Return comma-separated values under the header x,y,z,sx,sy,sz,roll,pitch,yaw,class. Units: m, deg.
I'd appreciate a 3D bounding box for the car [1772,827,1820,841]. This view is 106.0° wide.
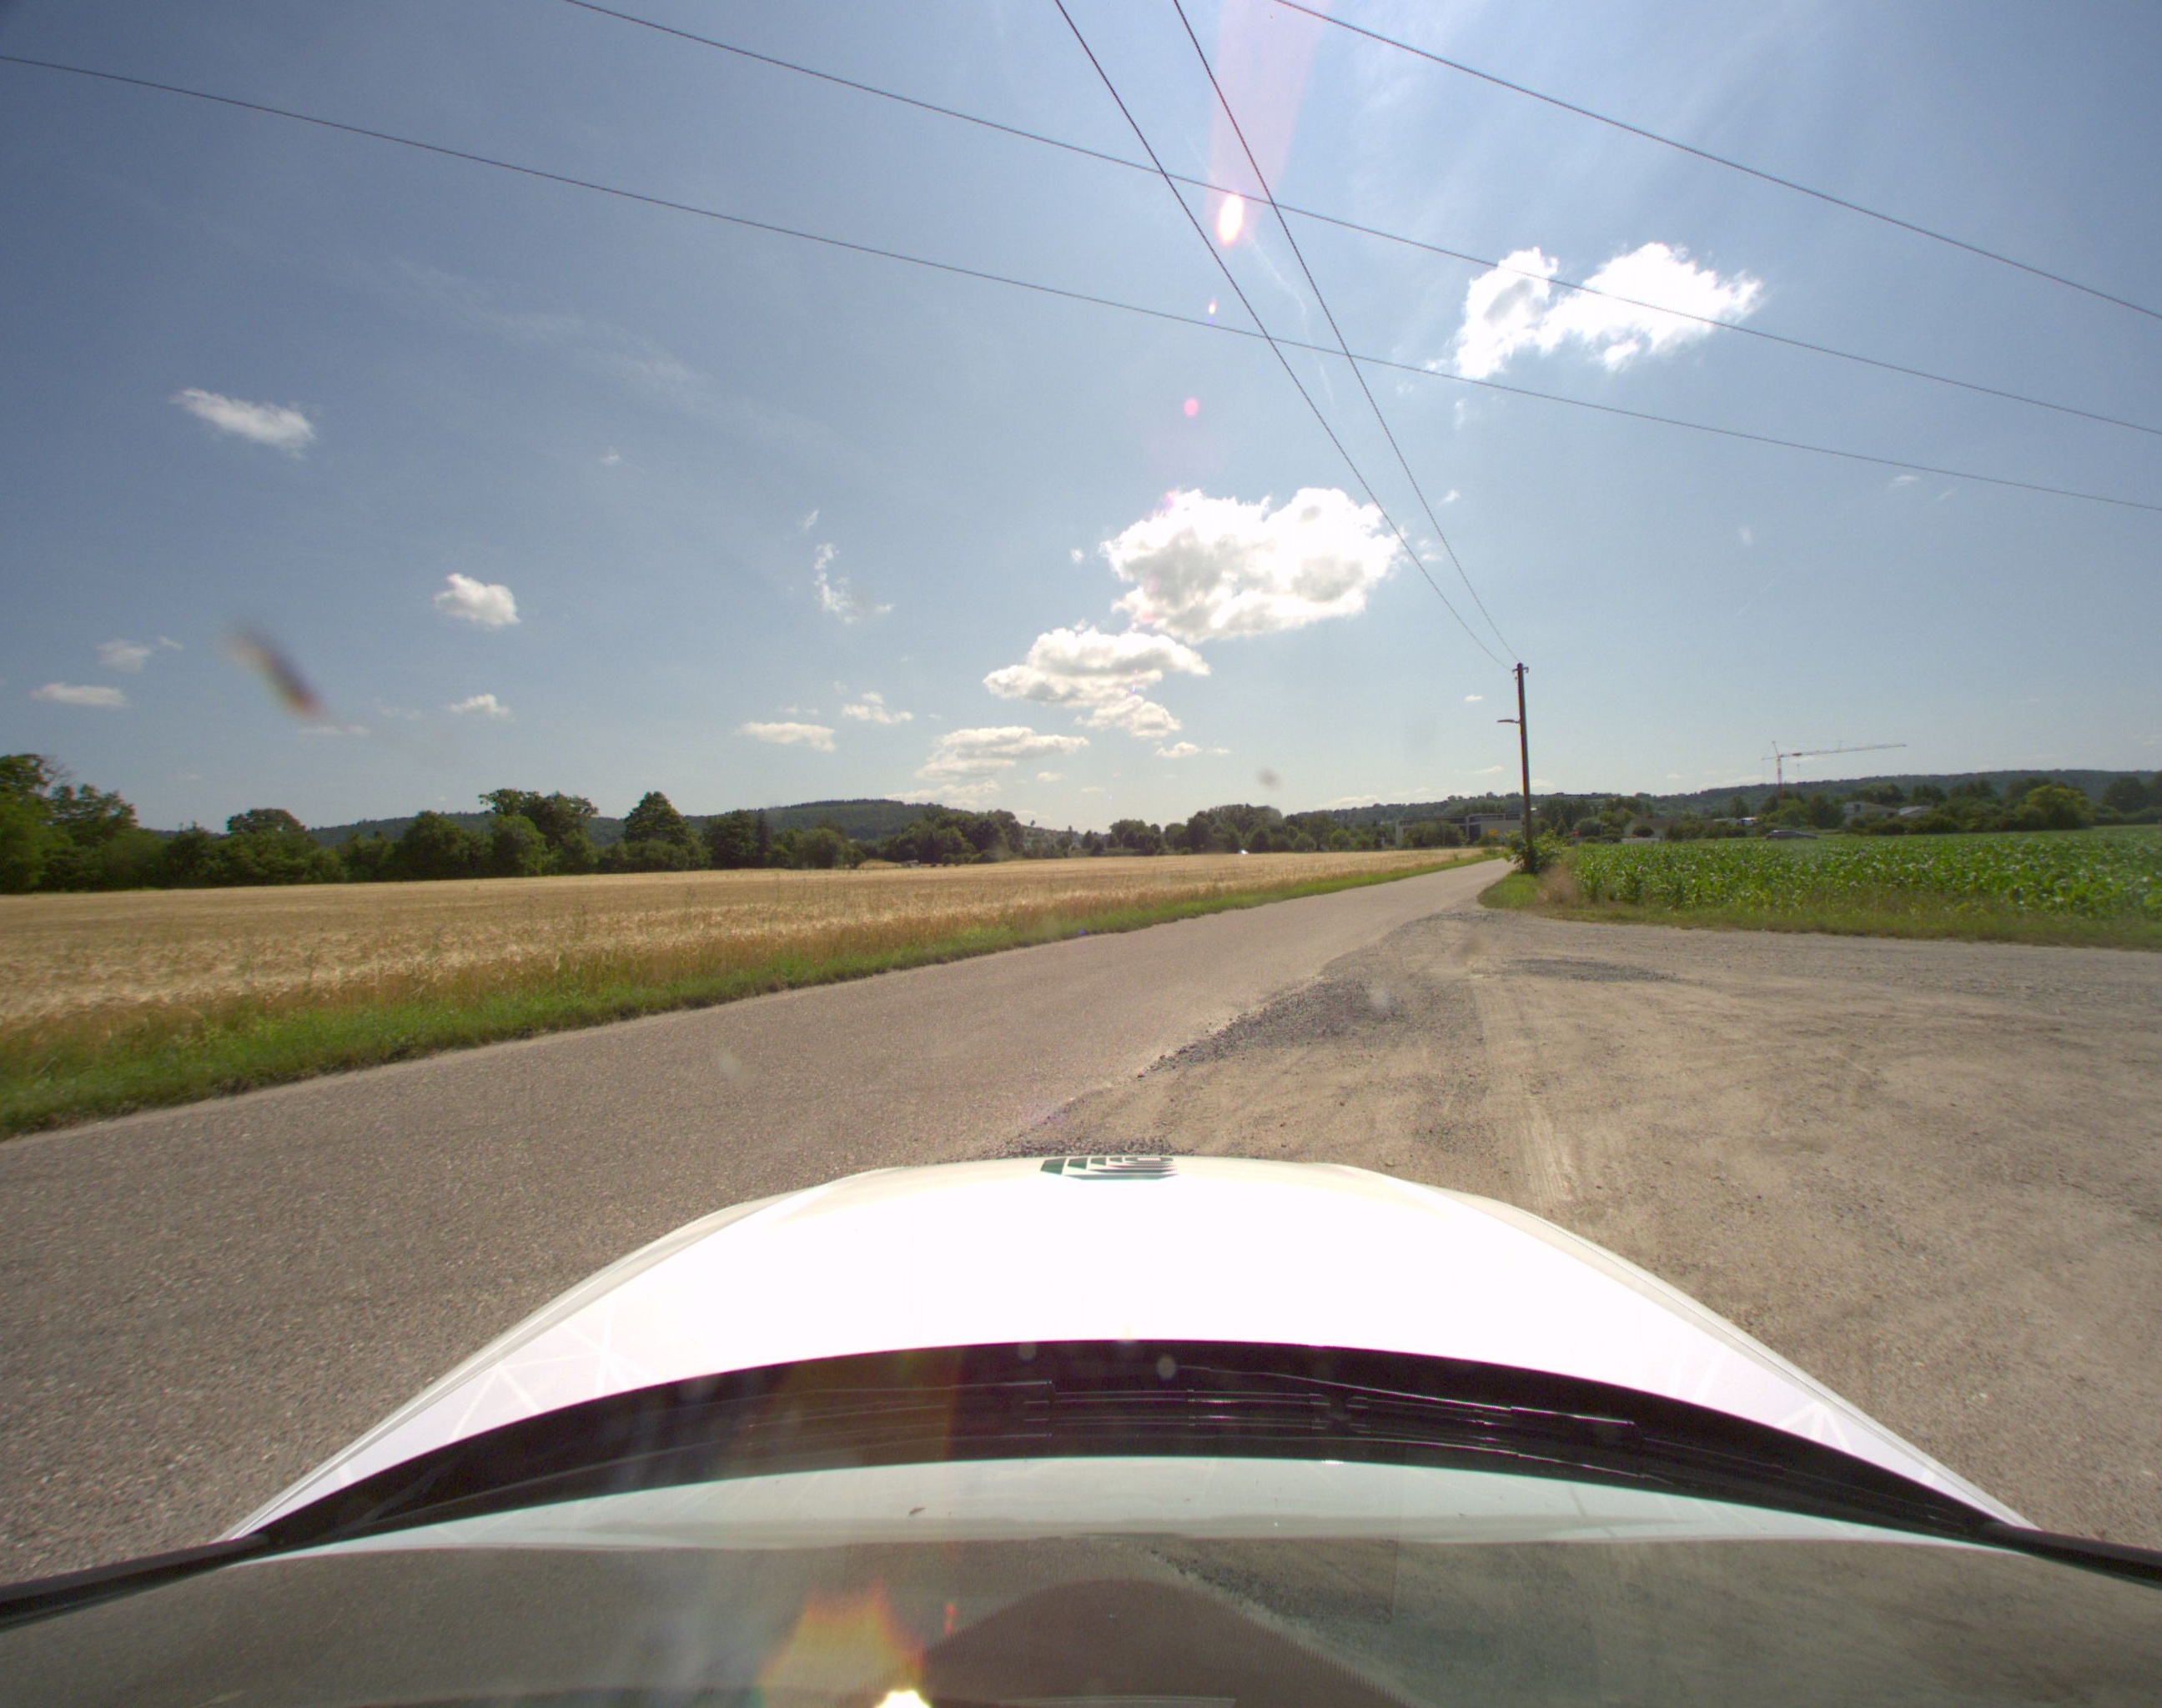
x,y,z,sx,sy,sz,roll,pitch,yaw,class
87.759,-2.493,99.995,1.827,1.502,4.239,-2,0,-44,car
